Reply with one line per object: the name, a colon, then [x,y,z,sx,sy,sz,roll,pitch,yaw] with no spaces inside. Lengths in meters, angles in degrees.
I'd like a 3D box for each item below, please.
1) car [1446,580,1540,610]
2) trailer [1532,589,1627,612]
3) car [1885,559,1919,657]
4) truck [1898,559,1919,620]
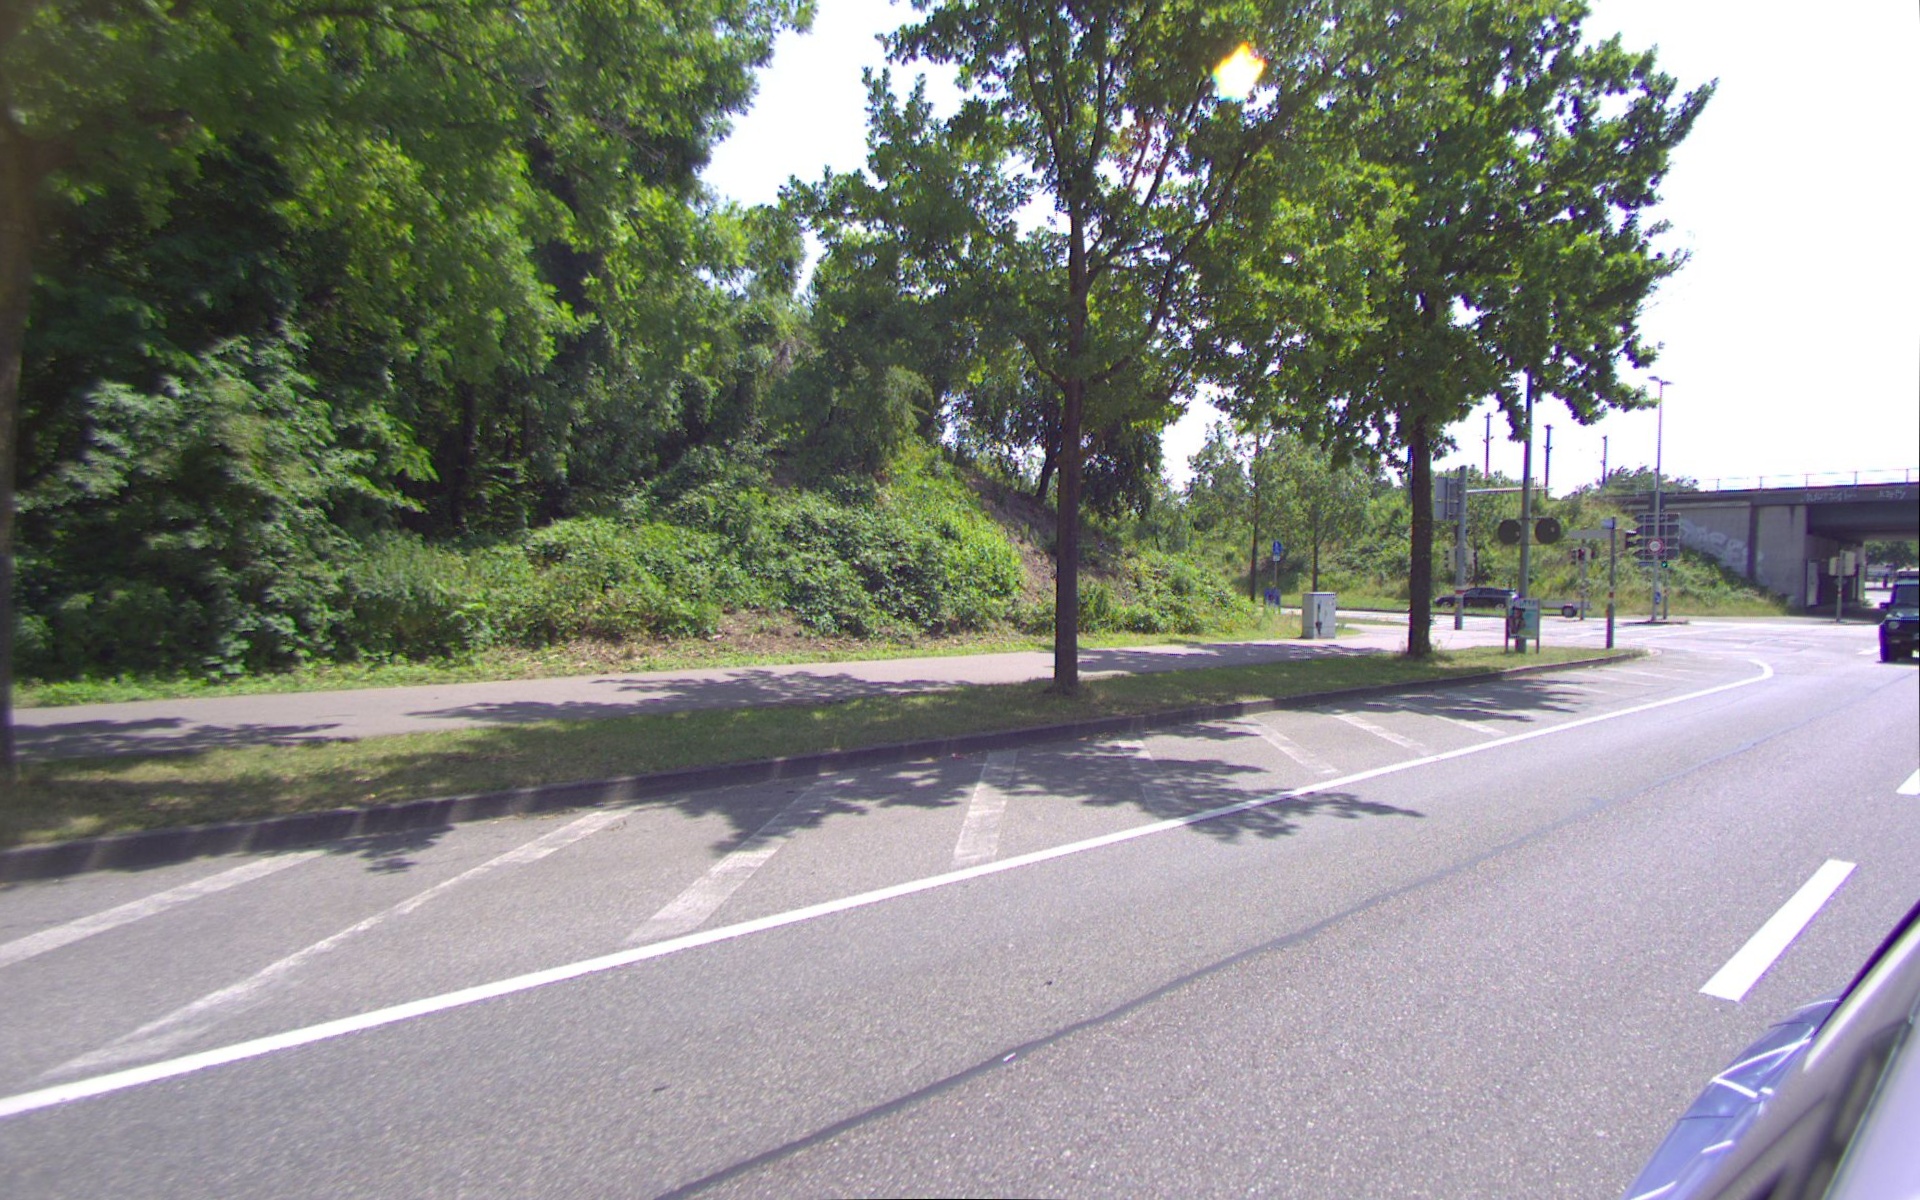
car: [27.318,-0.295,51.937,1.780,1.407,3.893,0,2,-45]
trailer: [30.217,0.007,49.405,3.813,0.954,1.659,2,2,38]
car: [23.107,0.158,23.555,4.479,2.180,1.840,-1,2,-42]
truck: [50.060,-0.551,51.203,8.367,2.952,2.883,0,1,-41]
